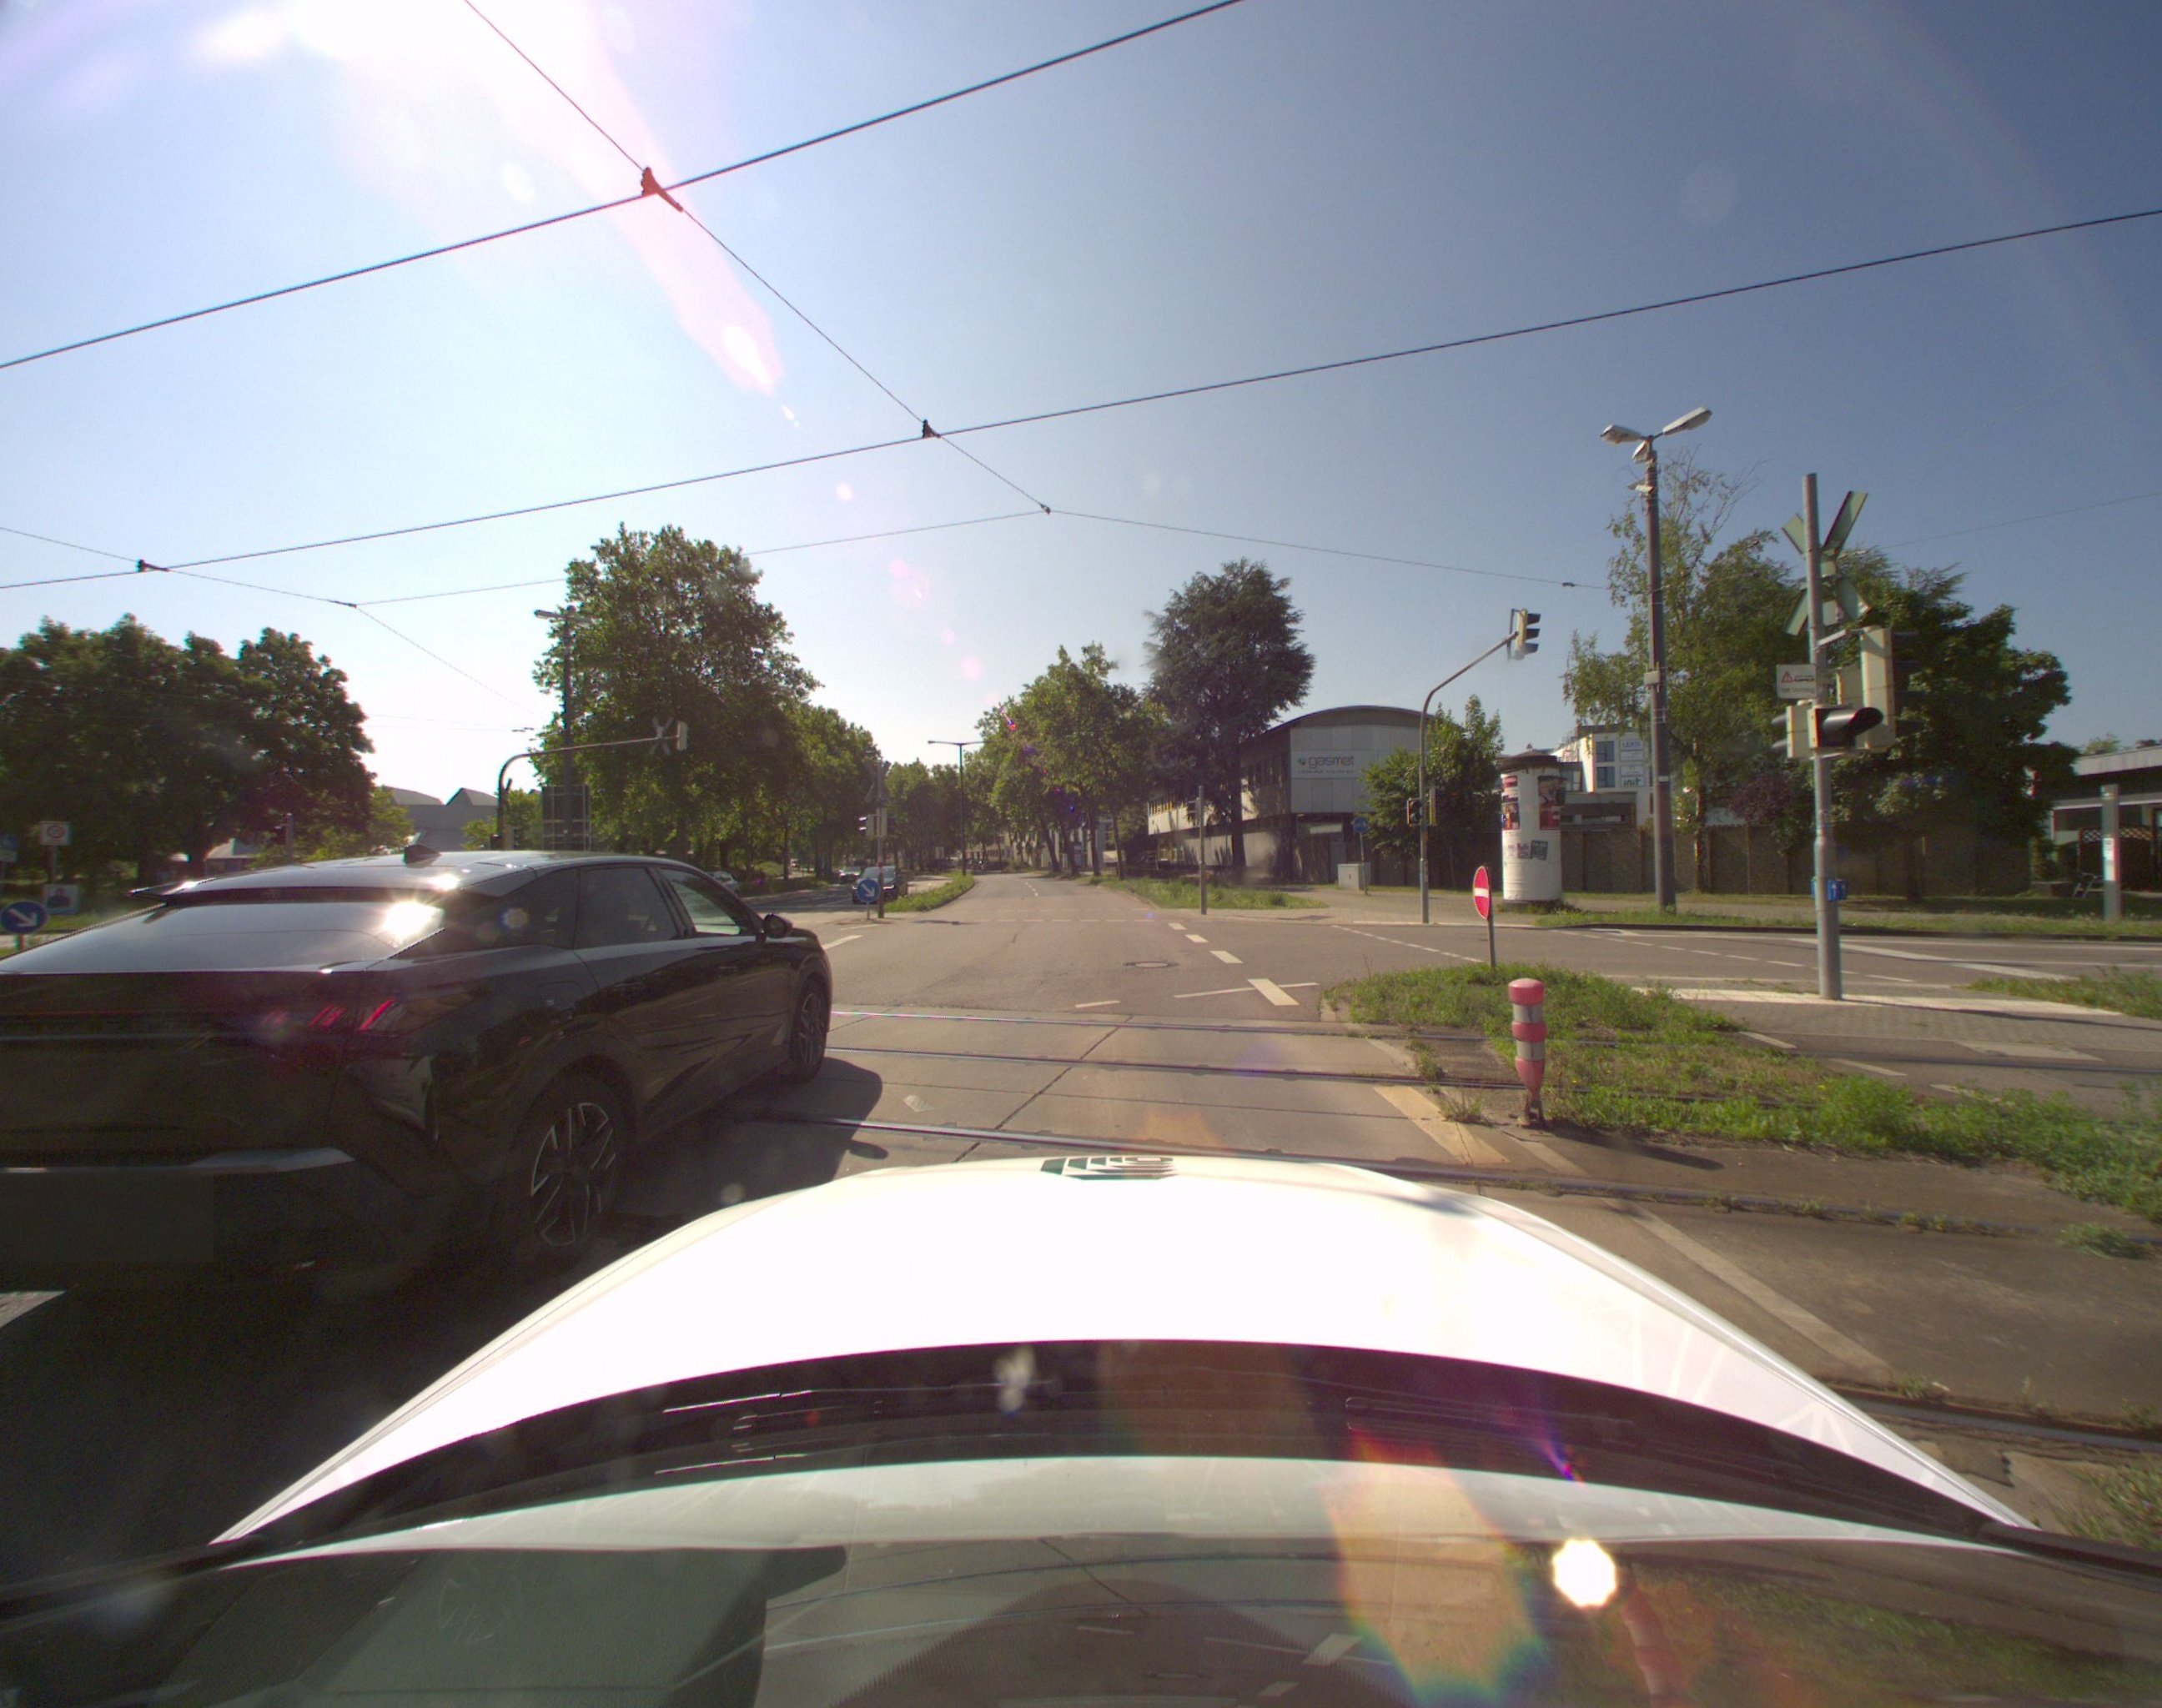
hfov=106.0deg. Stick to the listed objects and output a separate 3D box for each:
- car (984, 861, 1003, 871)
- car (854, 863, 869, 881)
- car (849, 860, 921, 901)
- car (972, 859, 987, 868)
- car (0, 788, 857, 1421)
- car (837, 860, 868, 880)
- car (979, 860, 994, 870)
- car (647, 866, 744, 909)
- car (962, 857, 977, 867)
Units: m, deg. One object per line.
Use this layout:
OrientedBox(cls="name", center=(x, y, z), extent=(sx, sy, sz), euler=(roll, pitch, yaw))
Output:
OrientedBox(cls="car", center=(-13.231, 1.769, 123.422), extent=(1.713, 1.487, 4.686), euler=(-2, 0, -20))
OrientedBox(cls="car", center=(-34.207, 2.720, 126.754), extent=(2.064, 2.613, 7.179), euler=(-2, 0, -15))
OrientedBox(cls="car", center=(-7.906, 1.025, 33.218), extent=(1.686, 1.508, 4.134), euler=(-1, 0, 4))
OrientedBox(cls="car", center=(-16.643, 1.538, 133.564), extent=(1.710, 1.455, 4.629), euler=(-1, 0, -16))
OrientedBox(cls="car", center=(-2.792, 0.716, 4.427), extent=(1.866, 1.696, 4.435), euler=(-1, -1, 1))
OrientedBox(cls="car", center=(-19.637, 1.379, 70.152), extent=(1.706, 1.589, 4.424), euler=(-2, 0, -6))
OrientedBox(cls="car", center=(-14.960, 1.748, 128.403), extent=(1.710, 1.487, 4.078), euler=(-1, 0, -16))
OrientedBox(cls="car", center=(-15.308, 1.284, 32.638), extent=(1.689, 1.508, 4.659), euler=(-1, 0, -1))
OrientedBox(cls="car", center=(-19.950, 1.466, 145.299), extent=(1.713, 1.669, 4.501), euler=(-1, 0, -21))
